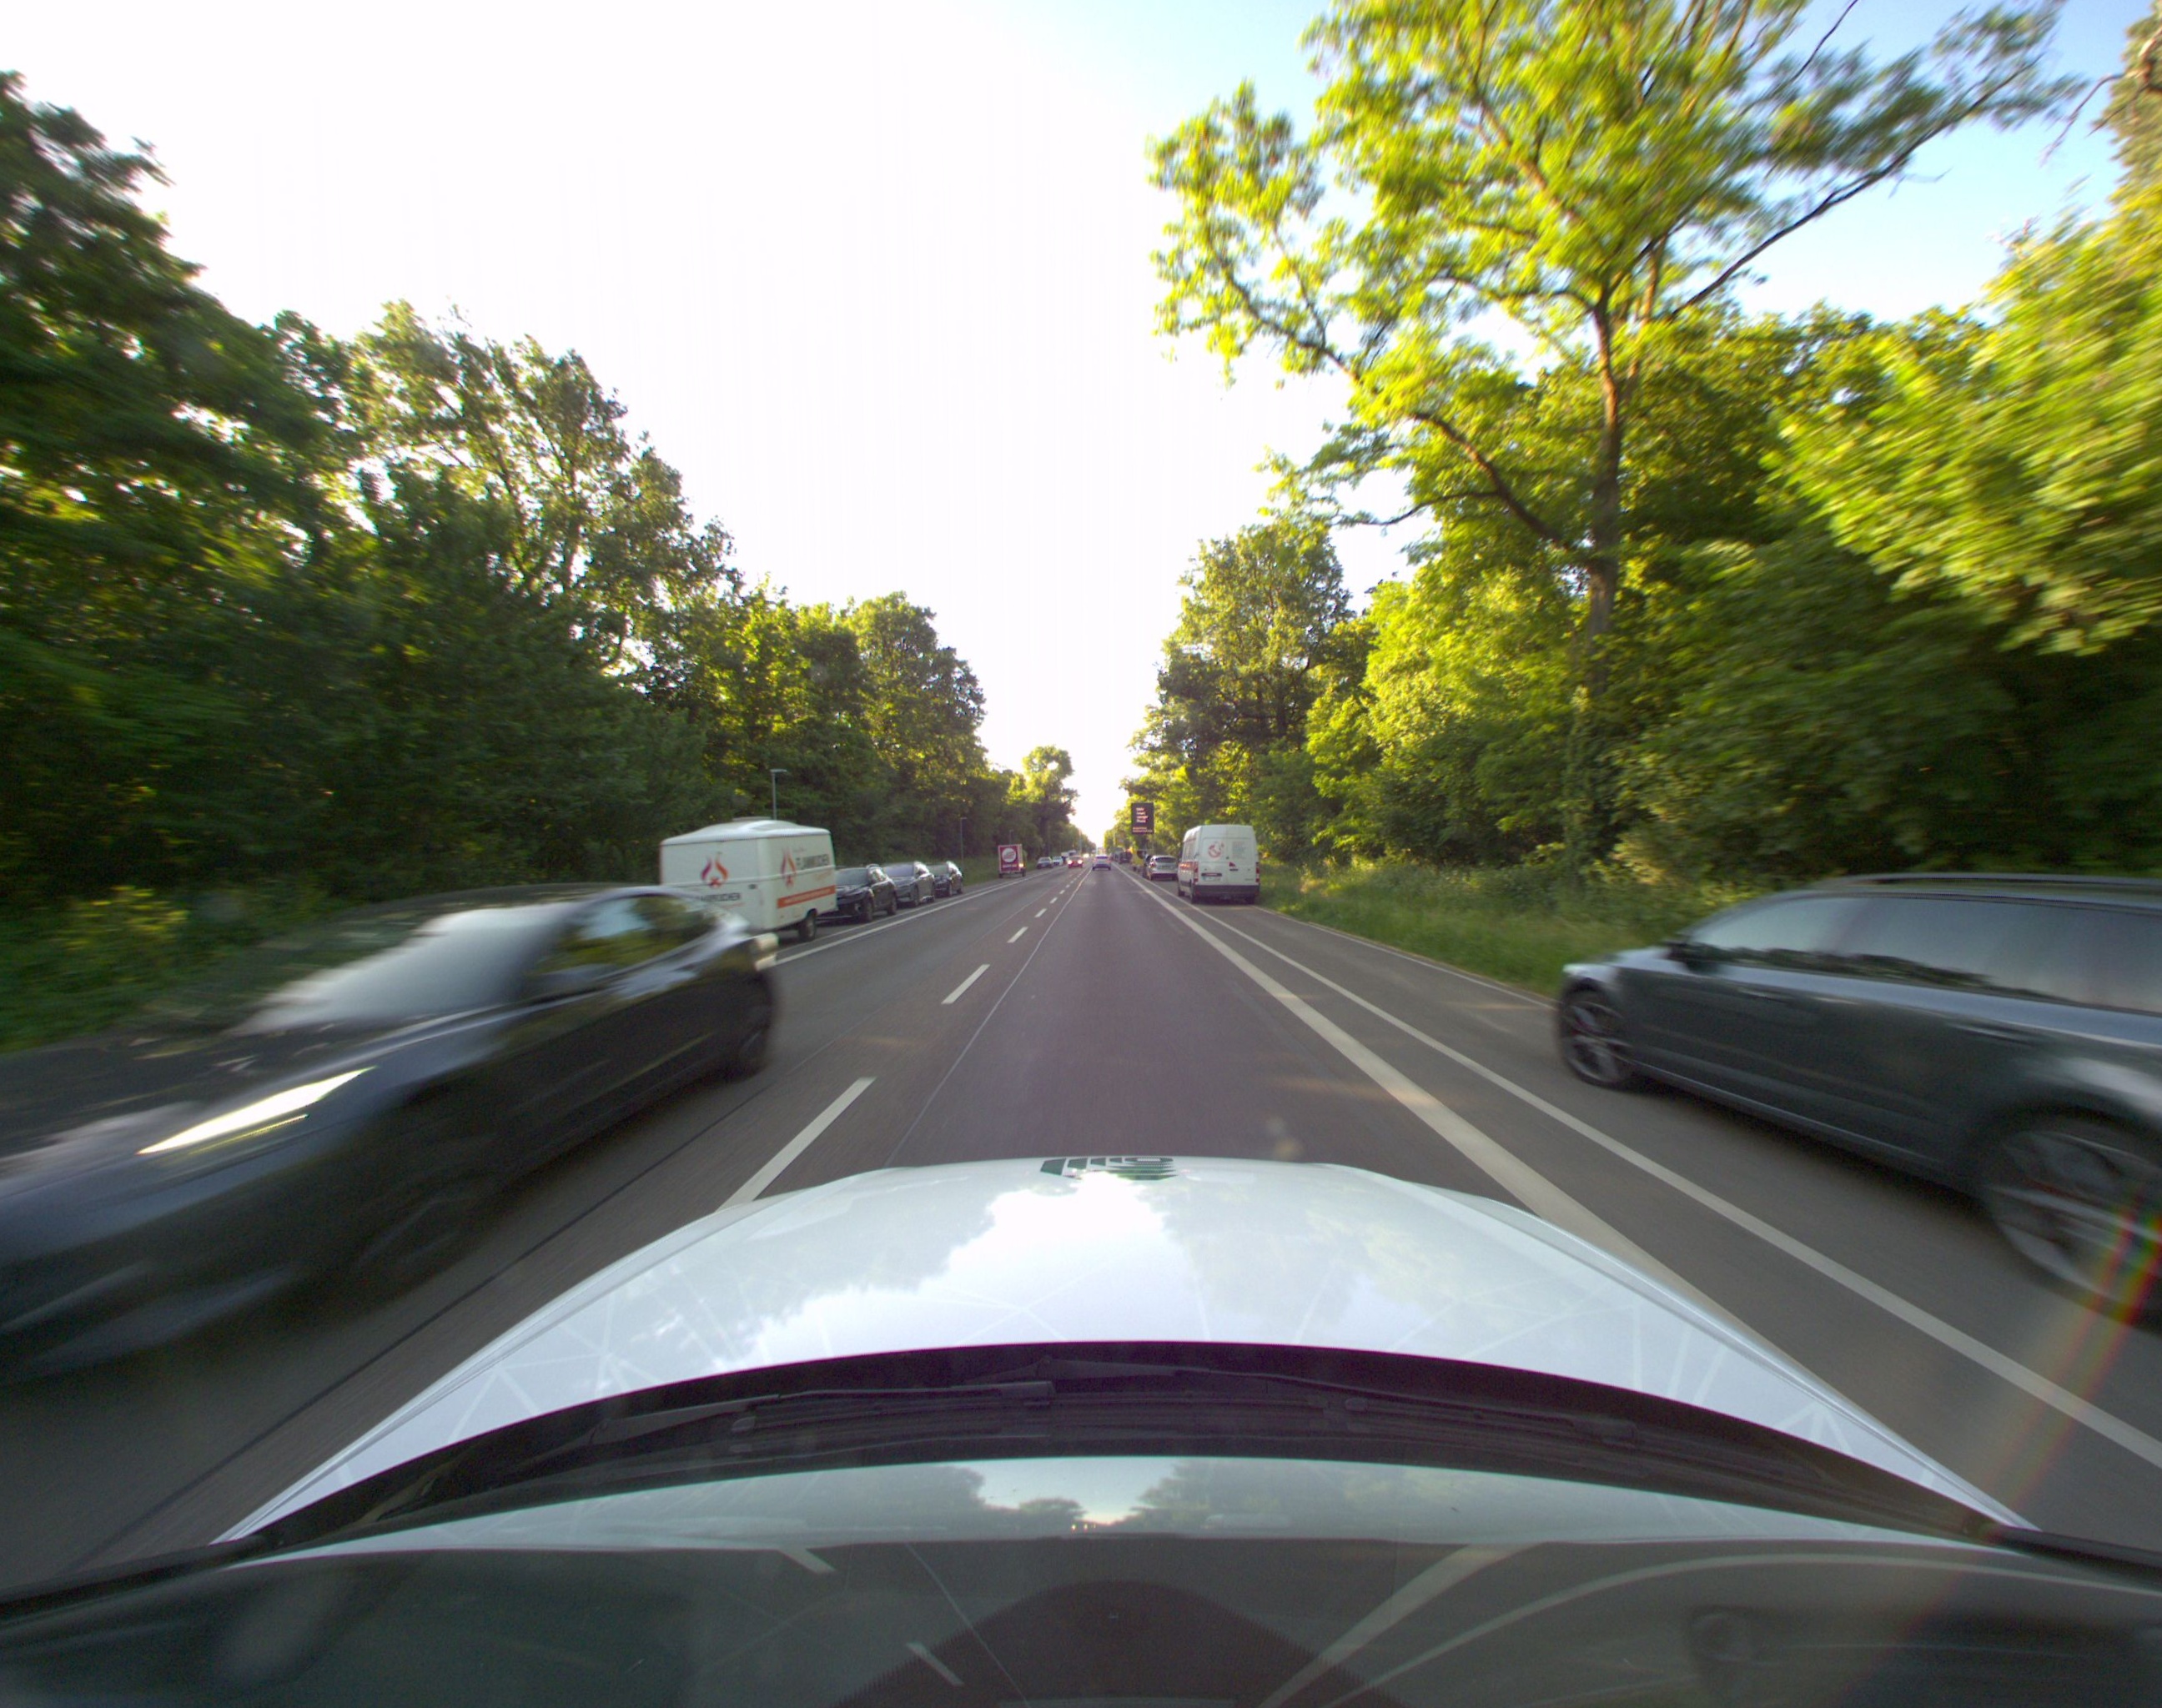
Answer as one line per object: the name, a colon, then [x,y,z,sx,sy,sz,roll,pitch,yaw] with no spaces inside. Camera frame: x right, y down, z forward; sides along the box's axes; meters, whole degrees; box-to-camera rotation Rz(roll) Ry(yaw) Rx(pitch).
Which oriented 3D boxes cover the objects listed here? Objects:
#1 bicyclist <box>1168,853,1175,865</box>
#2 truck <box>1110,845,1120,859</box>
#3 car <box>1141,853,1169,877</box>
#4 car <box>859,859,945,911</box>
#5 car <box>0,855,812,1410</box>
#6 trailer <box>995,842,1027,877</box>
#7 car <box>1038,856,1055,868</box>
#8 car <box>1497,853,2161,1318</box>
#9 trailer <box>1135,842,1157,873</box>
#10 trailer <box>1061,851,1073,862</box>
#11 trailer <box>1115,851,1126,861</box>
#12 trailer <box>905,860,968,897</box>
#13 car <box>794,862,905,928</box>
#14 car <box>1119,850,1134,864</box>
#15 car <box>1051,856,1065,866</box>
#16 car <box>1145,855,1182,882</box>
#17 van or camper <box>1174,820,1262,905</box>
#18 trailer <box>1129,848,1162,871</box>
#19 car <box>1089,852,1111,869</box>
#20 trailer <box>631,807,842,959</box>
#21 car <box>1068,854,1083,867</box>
bicyclist: [9.592,0.530,86.126,0.608,1.324,1.176,-1,0,1]
truck: [8.310,-0.432,199.554,2.495,3.366,7.110,0,0,2]
car: [4.818,0.687,53.202,1.580,1.530,3.012,0,0,1]
car: [-6.214,1.019,28.946,1.665,1.574,5.129,-5,-1,2]
car: [-3.247,0.821,4.565,1.813,1.532,4.531,-2,0,1]
trailer: [-5.546,0.435,64.904,1.986,2.621,4.087,-2,0,1]
car: [-4.340,1.015,103.556,1.848,1.464,4.785,-1,0,1]
car: [4.221,0.732,4.084,1.829,1.421,4.594,1,0,-1]
trailer: [5.336,0.292,67.488,1.608,2.508,4.001,0,0,1]
trailer: [-2.976,0.551,171.536,2.066,2.293,3.489,-2,0,3]
trailer: [8.174,0.444,169.662,1.600,2.112,2.409,-1,0,22]
trailer: [-6.189,1.009,35.373,1.834,1.466,4.467,-1,0,1]
car: [-6.254,1.047,22.495,1.665,1.495,4.195,-5,-1,2]
car: [6.958,0.483,125.470,2.106,2.013,5.041,1,0,2]
car: [-3.718,1.088,130.506,1.860,1.450,4.072,-4,0,1]
car: [4.796,0.808,47.849,1.729,1.488,4.400,1,0,0]
van or camper: [4.447,0.261,27.461,2.117,2.482,6.308,-1,0,2]
trailer: [6.036,0.470,75.872,1.945,2.022,3.864,-1,0,21]
car: [1.873,0.637,80.193,1.986,1.640,4.001,-2,0,1]
trailer: [-6.540,0.497,16.139,2.340,2.529,4.341,-2,0,-2]
car: [-0.653,0.758,95.649,1.598,1.420,3.519,-3,0,1]
